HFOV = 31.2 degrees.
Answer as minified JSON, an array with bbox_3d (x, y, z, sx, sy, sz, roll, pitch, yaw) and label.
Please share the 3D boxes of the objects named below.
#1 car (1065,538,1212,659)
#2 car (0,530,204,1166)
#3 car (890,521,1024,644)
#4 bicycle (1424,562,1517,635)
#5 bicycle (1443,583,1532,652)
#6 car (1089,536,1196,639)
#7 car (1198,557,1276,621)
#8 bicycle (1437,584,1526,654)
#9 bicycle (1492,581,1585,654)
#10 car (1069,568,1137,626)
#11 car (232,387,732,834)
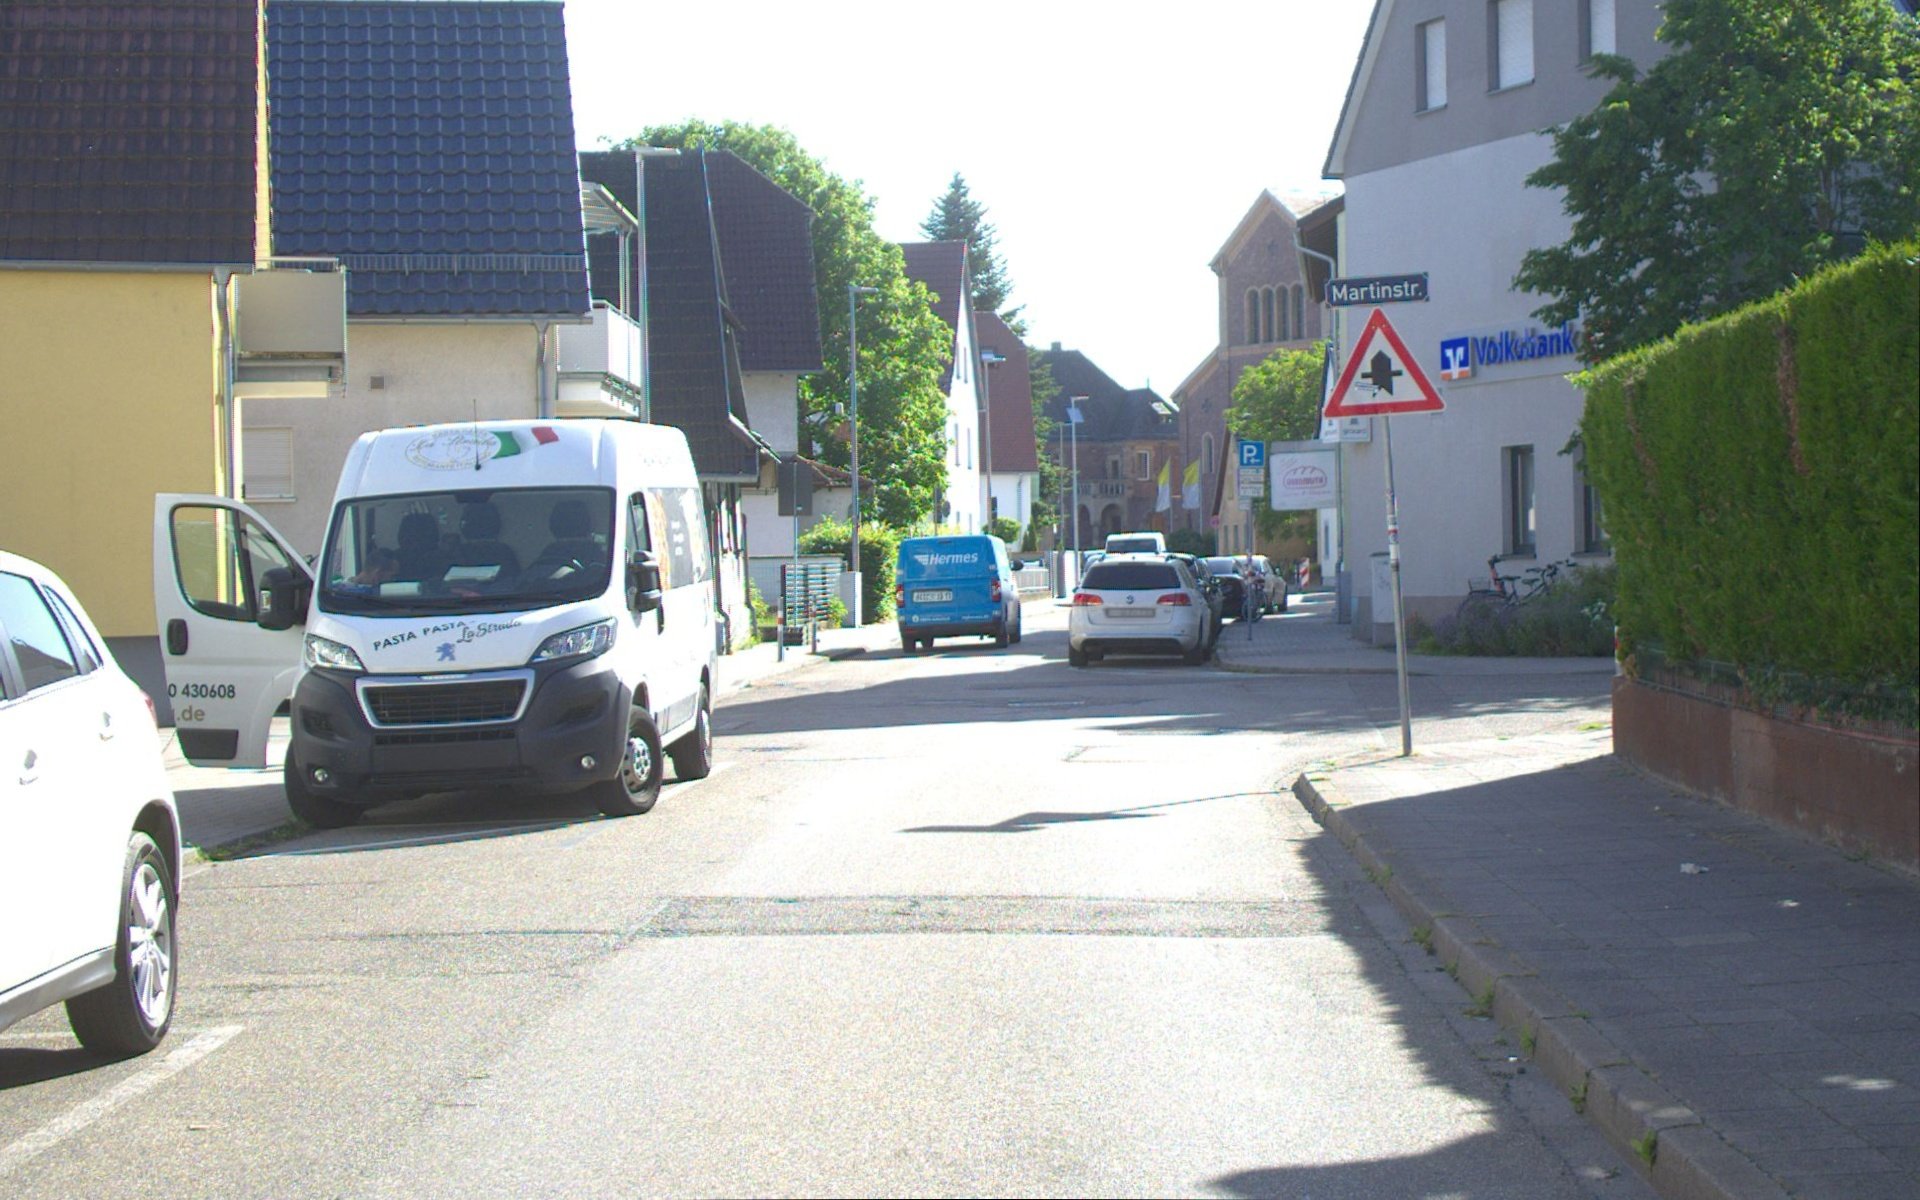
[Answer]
[{"bbox_3d":[2.508,-0.059,47.508,1.846,1.508,4.506,-1,1,5],"label":"car"},{"bbox_3d":[-3.320,0.655,8.955,1.722,1.613,4.112,-2,1,0],"label":"car"},{"bbox_3d":[0.002,-0.340,58.647,1.902,1.911,5.069,-3,1,3],"label":"car"},{"bbox_3d":[7.179,-0.022,48.323,1.223,0.972,0.320,-2,1,18],"label":"bicycle"},{"bbox_3d":[7.322,0.247,47.726,1.163,0.917,0.313,-2,1,13],"label":"bicycle"},{"bbox_3d":[2.866,-0.223,53.498,1.610,1.515,3.971,0,1,4],"label":"car"},{"bbox_3d":[6.870,-0.299,84.953,1.812,1.470,4.659,-1,1,6],"label":"car"},{"bbox_3d":[7.189,0.262,47.354,1.163,0.917,0.313,-2,1,13],"label":"bicycle"},{"bbox_3d":[7.696,0.229,45.772,1.163,0.917,0.313,-2,1,3],"label":"bicycle"},{"bbox_3d":[4.409,-0.104,105.482,1.715,1.593,3.924,-3,1,7],"label":"car"},{"bbox_3d":[-2.900,0.004,22.294,2.252,2.462,5.516,-2,1,2],"label":"car"}]
